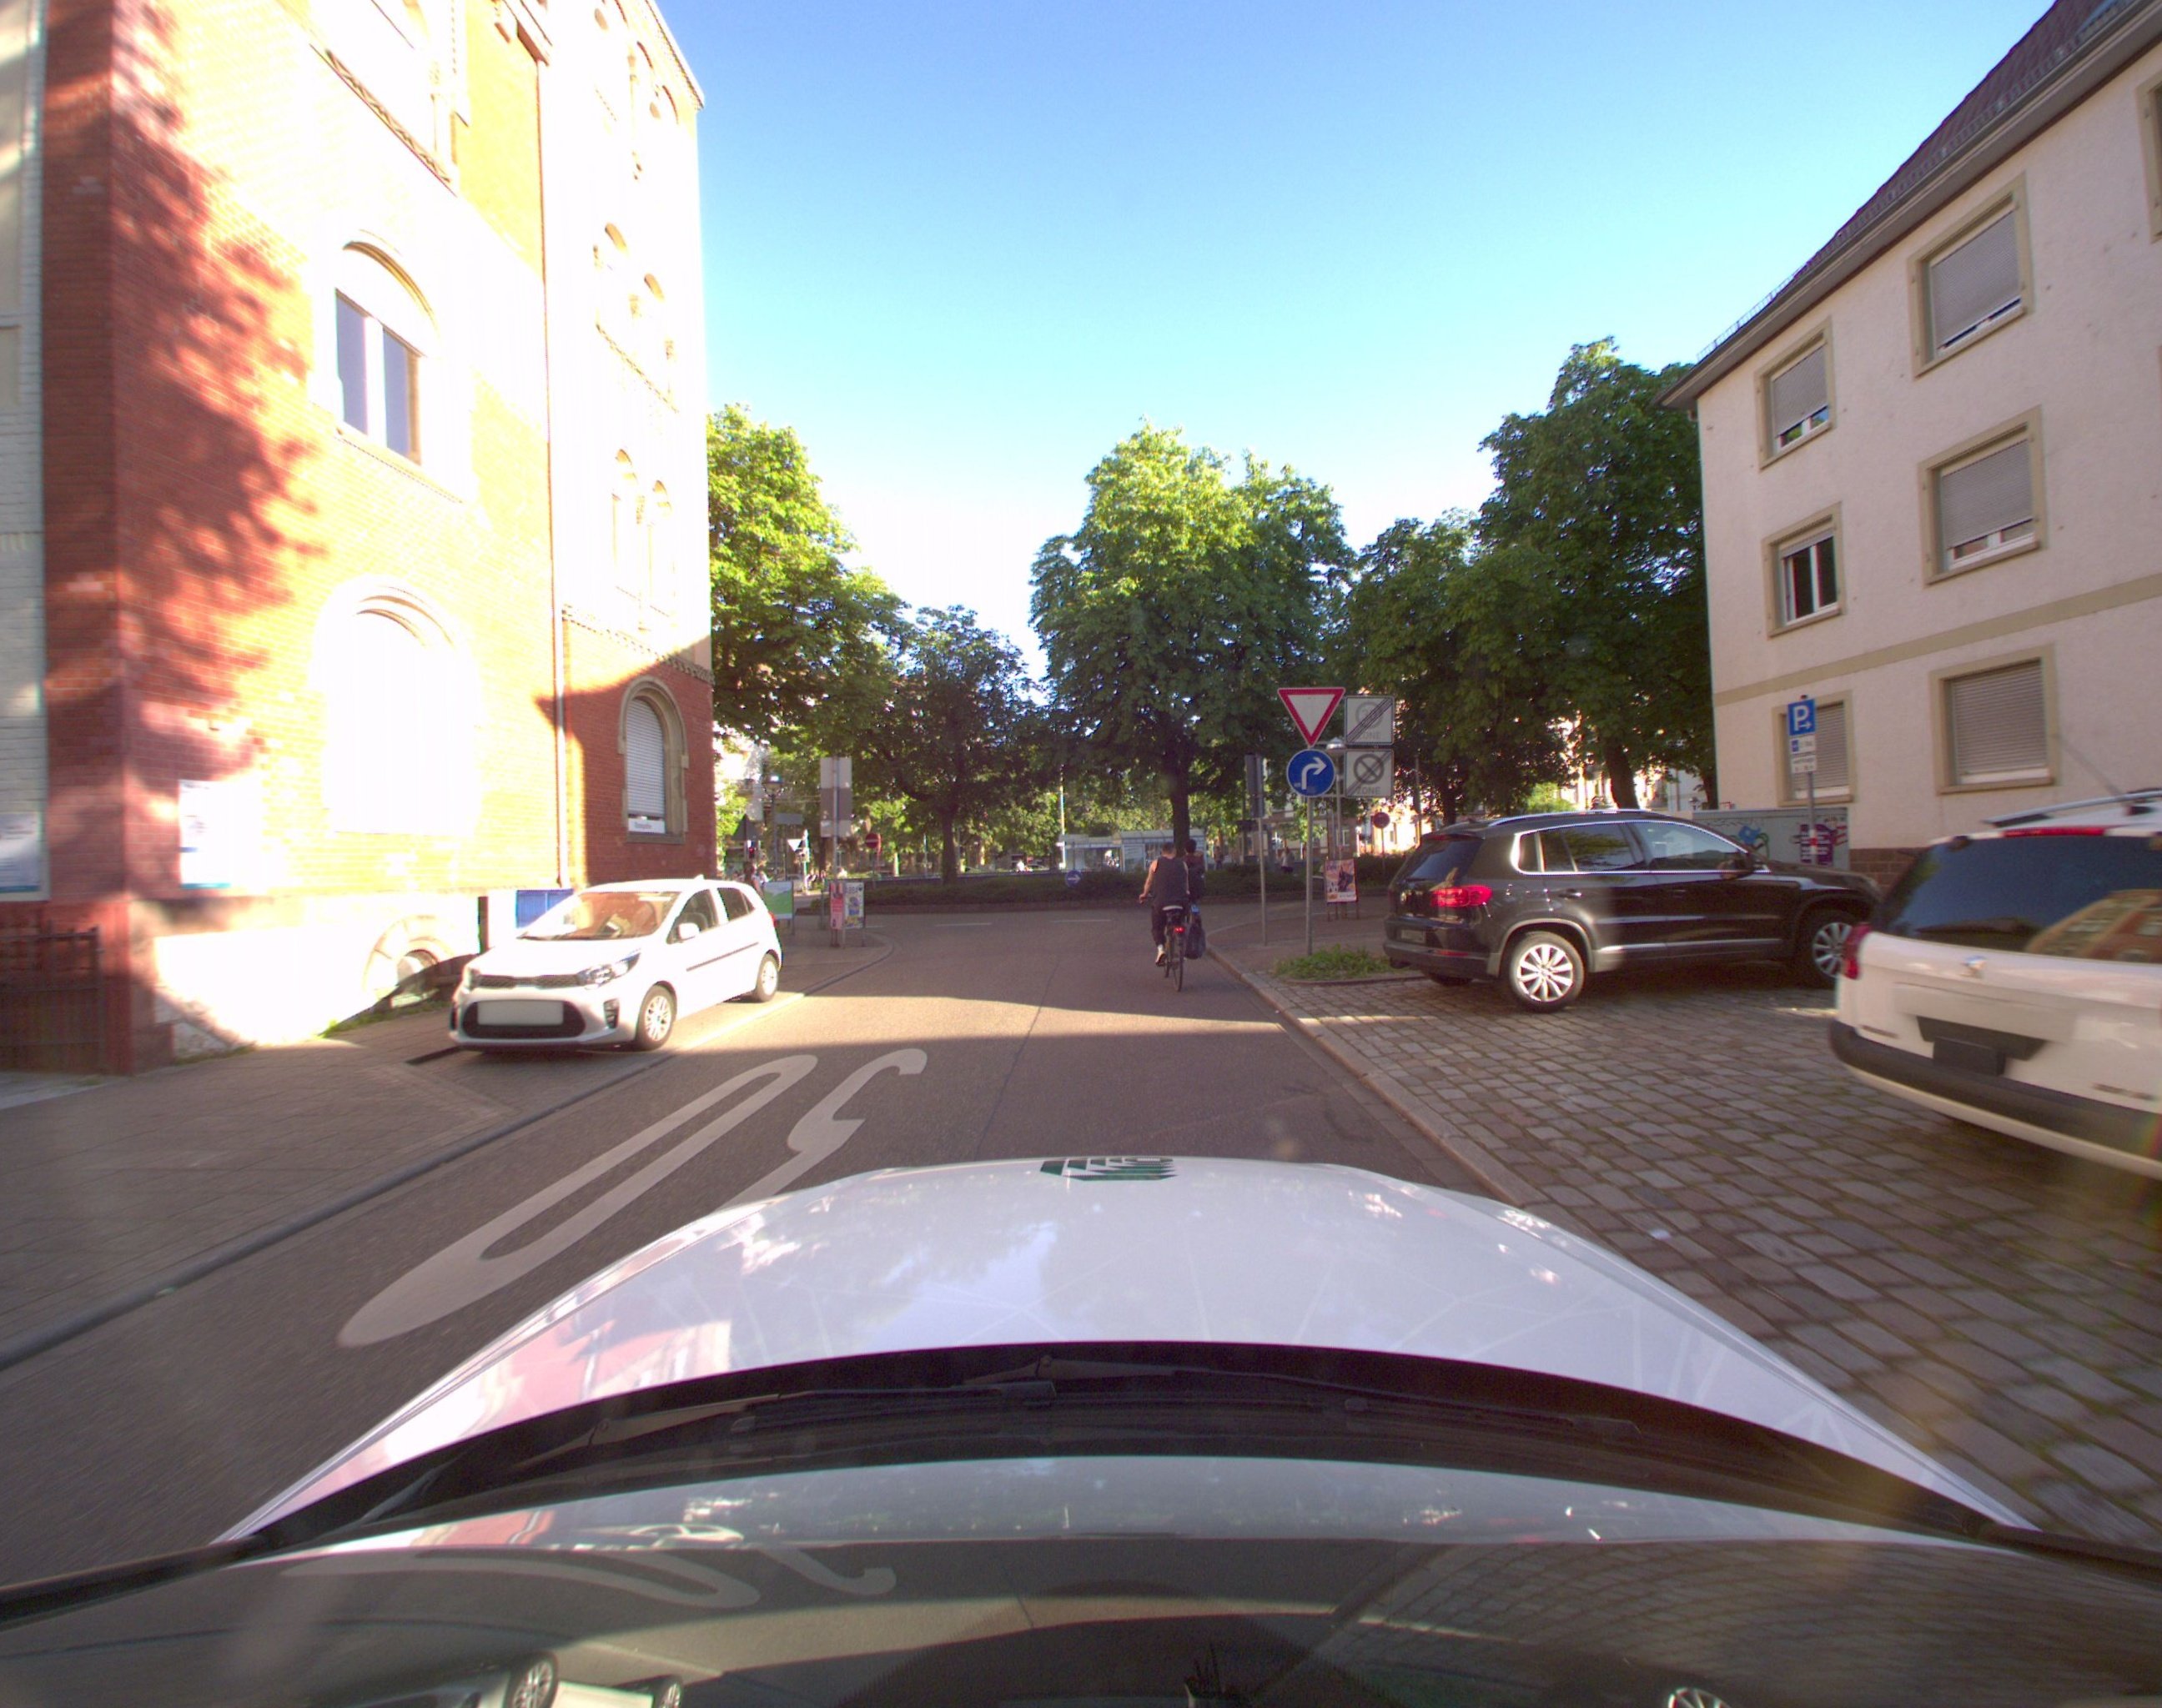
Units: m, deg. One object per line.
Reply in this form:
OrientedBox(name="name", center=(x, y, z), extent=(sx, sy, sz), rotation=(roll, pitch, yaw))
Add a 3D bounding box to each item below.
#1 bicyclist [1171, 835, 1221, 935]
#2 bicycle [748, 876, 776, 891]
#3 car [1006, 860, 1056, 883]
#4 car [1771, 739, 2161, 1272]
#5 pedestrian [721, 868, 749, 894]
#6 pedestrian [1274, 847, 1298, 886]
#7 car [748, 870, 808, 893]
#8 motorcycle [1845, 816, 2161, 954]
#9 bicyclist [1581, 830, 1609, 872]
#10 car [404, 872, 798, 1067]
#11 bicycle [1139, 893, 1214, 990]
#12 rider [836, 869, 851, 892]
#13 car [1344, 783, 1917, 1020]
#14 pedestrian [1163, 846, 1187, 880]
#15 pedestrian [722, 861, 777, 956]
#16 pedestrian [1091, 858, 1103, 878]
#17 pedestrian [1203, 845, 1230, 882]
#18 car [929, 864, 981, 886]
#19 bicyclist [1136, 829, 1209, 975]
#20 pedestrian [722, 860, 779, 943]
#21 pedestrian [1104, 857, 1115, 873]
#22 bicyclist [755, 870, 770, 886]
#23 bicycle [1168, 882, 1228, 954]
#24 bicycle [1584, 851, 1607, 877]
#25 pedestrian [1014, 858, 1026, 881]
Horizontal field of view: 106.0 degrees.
OrientedBox(name="bicyclist", center=(1.846, 0.491, 13.156), extent=(0.668, 1.514, 1.070), rotation=(-2, -2, 4))
OrientedBox(name="bicycle", center=(-21.941, 2.008, 56.074), extent=(0.646, 0.945, 1.753), rotation=(-3, 0, 29))
OrientedBox(name="car", center=(-4.535, 1.582, 73.979), extent=(4.006, 1.871, 1.984), rotation=(-2, 0, -24))
OrientedBox(name="car", center=(5.217, 0.404, 3.055), extent=(3.676, 1.651, 1.706), rotation=(-2, -1, 4))
OrientedBox(name="pedestrian", center=(-26.903, 2.116, 63.316), extent=(1.245, 1.912, 1.502), rotation=(-3, -1, 23))
OrientedBox(name="pedestrian", center=(9.066, 0.537, 36.093), extent=(0.910, 1.684, 0.782), rotation=(-3, -1, 11))
OrientedBox(name="car", center=(-21.948, 1.989, 59.050), extent=(1.877, 1.439, 3.729), rotation=(-2, 0, 27))
OrientedBox(name="motorcycle", center=(10.009, 0.304, 8.969), extent=(0.974, 1.280, 2.177), rotation=(-3, 0, -7))
OrientedBox(name="bicyclist", center=(24.025, -0.147, 38.077), extent=(0.843, 1.898, 1.146), rotation=(-3, -1, 23))
OrientedBox(name="car", center=(-4.473, 0.958, 8.368), extent=(1.699, 1.485, 3.798), rotation=(0, 0, 2))
OrientedBox(name="bicycle", center=(1.129, 1.023, 10.068), extent=(0.735, 1.012, 2.062), rotation=(0, -1, 1))
OrientedBox(name="rider", center=(-17.482, 1.937, 59.978), extent=(0.814, 1.681, 0.672), rotation=(0, -1, 11))
OrientedBox(name="car", center=(4.928, 0.370, 7.760), extent=(4.097, 1.712, 2.022), rotation=(-3, 0, -3))
OrientedBox(name="pedestrian", center=(5.375, 0.528, 46.551), extent=(1.020, 1.897, 0.906), rotation=(-2, -1, -21))
OrientedBox(name="pedestrian", center=(-5.840, 0.940, 14.385), extent=(0.598, 1.605, 0.853), rotation=(-2, -1, -4))
OrientedBox(name="pedestrian", center=(1.301, 1.112, 64.718), extent=(0.809, 1.543, 0.818), rotation=(0, -1, -10))
OrientedBox(name="pedestrian", center=(6.255, 0.434, 37.606), extent=(0.887, 1.684, 0.825), rotation=(-3, -1, 35))
OrientedBox(name="car", center=(-10.807, 1.780, 69.926), extent=(3.971, 1.679, 1.930), rotation=(-2, -1, -42))
OrientedBox(name="bicyclist", center=(1.104, 0.564, 10.016), extent=(0.749, 1.682, 0.913), rotation=(-2, -1, 1))
OrientedBox(name="pedestrian", center=(-6.826, 0.965, 16.855), extent=(0.867, 1.643, 0.857), rotation=(-2, -1, -10))
OrientedBox(name="pedestrian", center=(2.871, 1.090, 80.871), extent=(0.997, 1.630, 1.064), rotation=(-2, -1, 0))
OrientedBox(name="bicyclist", center=(-21.938, 1.628, 56.118), extent=(0.604, 1.054, 0.681), rotation=(-3, -1, 28))
OrientedBox(name="bicycle", center=(1.873, 0.993, 13.279), extent=(0.671, 1.054, 2.061), rotation=(-2, -2, 1))
OrientedBox(name="bicycle", center=(23.955, 0.438, 37.938), extent=(0.592, 1.161, 2.053), rotation=(-2, 0, 25))
OrientedBox(name="pedestrian", center=(-4.670, 1.183, 62.254), extent=(0.704, 1.695, 0.666), rotation=(0, -1, -21))
